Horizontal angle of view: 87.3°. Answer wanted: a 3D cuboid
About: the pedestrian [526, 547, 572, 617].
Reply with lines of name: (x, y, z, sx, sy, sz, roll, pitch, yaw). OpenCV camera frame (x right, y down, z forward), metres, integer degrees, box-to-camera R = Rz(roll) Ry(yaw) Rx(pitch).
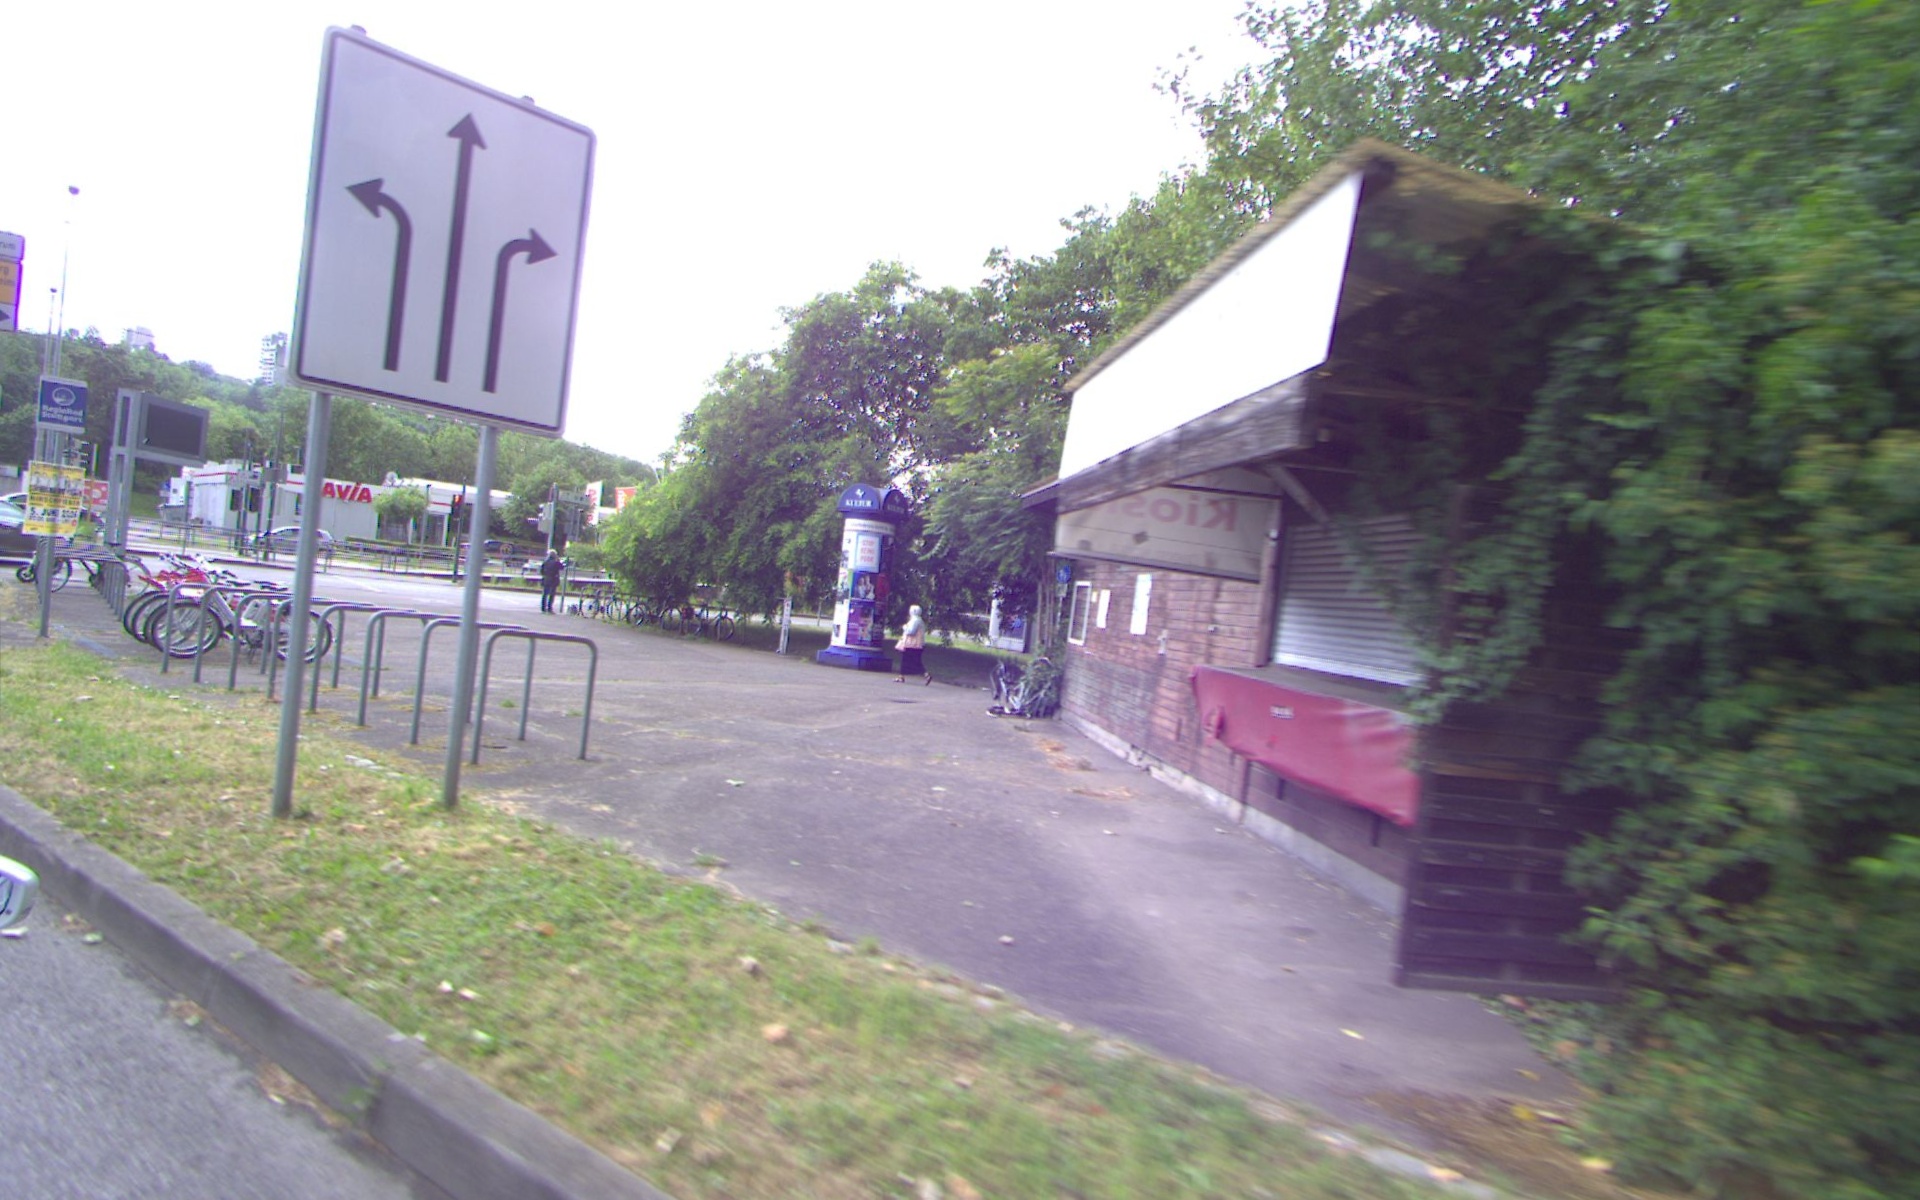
pedestrian: (-11.542, -0.501, 28.257, 0.762, 1.842, 0.689, 7, 1, 14)

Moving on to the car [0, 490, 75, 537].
car: (-39.227, -3.701, 40.609, 1.719, 1.542, 5.043, 7, 0, 42)

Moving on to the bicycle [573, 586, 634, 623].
bicycle: (-10.430, 0.139, 29.472, 0.354, 0.909, 1.716, 7, 0, 36)

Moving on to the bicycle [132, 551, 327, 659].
bicycle: (-8.783, 0.084, 12.167, 0.449, 1.124, 1.776, 6, -1, 41)

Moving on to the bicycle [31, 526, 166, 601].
bicycle: (-15.336, -0.632, 17.943, 0.472, 1.125, 1.689, 9, 1, 36)

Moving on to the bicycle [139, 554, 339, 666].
bicycle: (-8.251, 0.133, 11.592, 1.767, 1.124, 0.422, 6, 0, -35)

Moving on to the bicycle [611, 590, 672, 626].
bicycle: (-9.040, 0.246, 28.609, 0.370, 0.910, 1.714, 7, 2, 36)

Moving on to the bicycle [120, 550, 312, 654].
bicycle: (-9.307, 0.054, 12.648, 0.571, 1.124, 1.779, 6, -1, 36)

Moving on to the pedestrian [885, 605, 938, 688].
pedestrian: (-0.971, 0.924, 20.103, 0.766, 1.550, 0.510, 7, 1, 38)

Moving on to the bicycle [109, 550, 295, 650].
bicycle: (-9.811, 0.032, 13.092, 0.533, 1.124, 1.779, 5, -2, 36)

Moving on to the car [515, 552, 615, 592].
car: (-22.776, -1.592, 58.166, 1.988, 1.620, 4.915, 7, 0, 42)

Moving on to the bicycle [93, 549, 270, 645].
bicycle: (-10.783, -0.013, 13.995, 0.545, 1.124, 1.779, 6, -1, 36)

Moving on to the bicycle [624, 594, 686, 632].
bicycle: (-8.510, 0.362, 28.109, 0.370, 0.909, 1.716, 7, 0, 36)

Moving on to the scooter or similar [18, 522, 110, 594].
scooter or similar: (-16.664, -0.774, 18.732, 0.290, 1.184, 1.179, 7, 1, 43)

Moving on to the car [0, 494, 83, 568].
car: (-21.952, -1.644, 22.192, 1.702, 1.549, 4.144, 7, 0, -6)

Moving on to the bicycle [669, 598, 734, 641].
bicycle: (-6.800, 0.534, 26.556, 0.370, 1.003, 1.716, 7, 0, 36)

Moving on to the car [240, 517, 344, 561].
car: (-31.992, -2.902, 48.269, 1.680, 1.526, 3.765, 7, 0, 40)
